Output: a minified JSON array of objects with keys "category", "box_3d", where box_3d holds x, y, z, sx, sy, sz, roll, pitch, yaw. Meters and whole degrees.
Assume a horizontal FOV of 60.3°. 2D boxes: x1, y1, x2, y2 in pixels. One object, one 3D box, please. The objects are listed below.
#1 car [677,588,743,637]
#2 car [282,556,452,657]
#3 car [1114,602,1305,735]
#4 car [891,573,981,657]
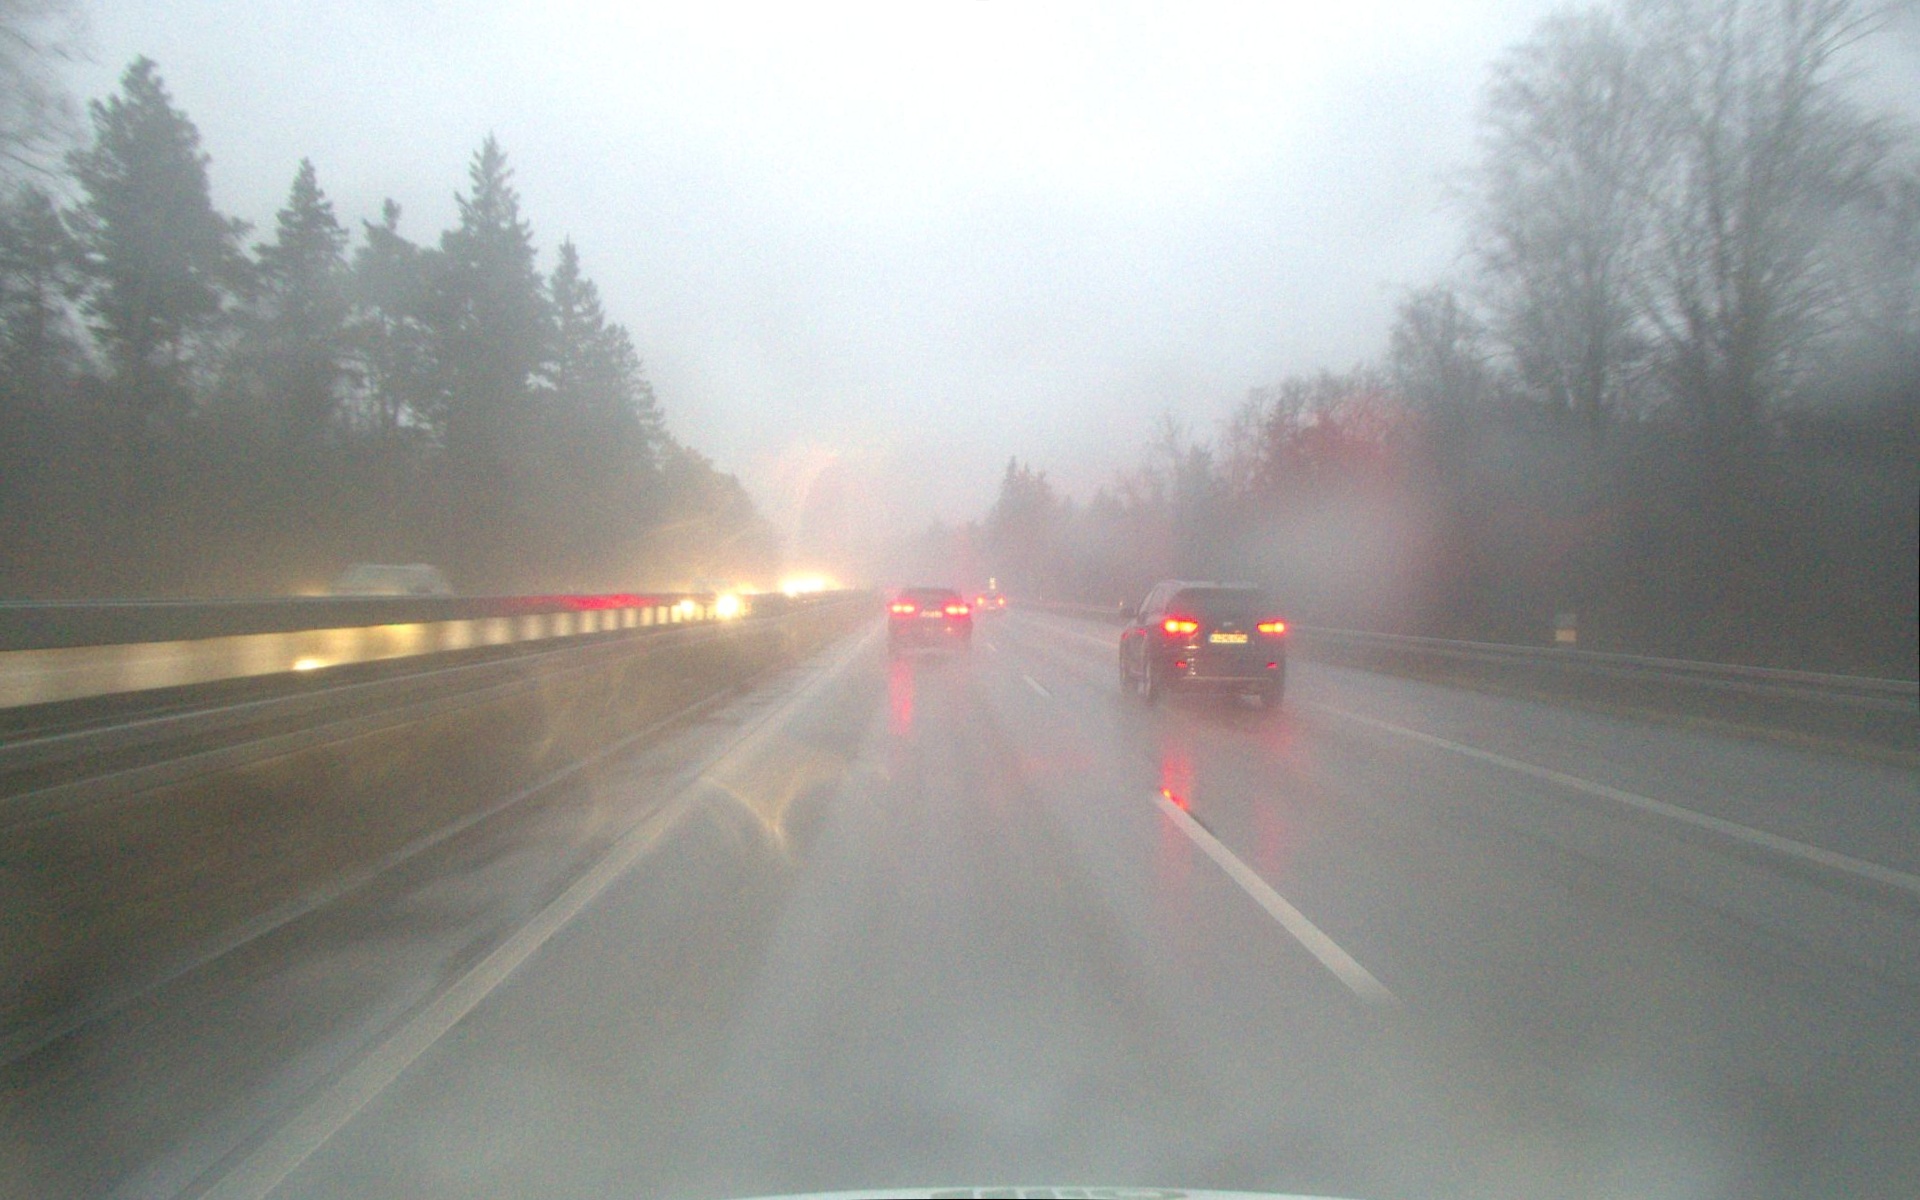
[{"category":"car","box_3d":[-8.652,0.414,57.491,1.772,1.594,3.999,1,0,-2]},{"category":"car","box_3d":[-12.540,0.126,35.320,1.953,1.984,4.711,1,0,-1]},{"category":"car","box_3d":[3.554,0.921,24.431,2.028,1.727,4.460,1,0,-1]},{"category":"car","box_3d":[-0.566,0.319,37.748,1.946,1.798,4.172,0,0,-1]}]
